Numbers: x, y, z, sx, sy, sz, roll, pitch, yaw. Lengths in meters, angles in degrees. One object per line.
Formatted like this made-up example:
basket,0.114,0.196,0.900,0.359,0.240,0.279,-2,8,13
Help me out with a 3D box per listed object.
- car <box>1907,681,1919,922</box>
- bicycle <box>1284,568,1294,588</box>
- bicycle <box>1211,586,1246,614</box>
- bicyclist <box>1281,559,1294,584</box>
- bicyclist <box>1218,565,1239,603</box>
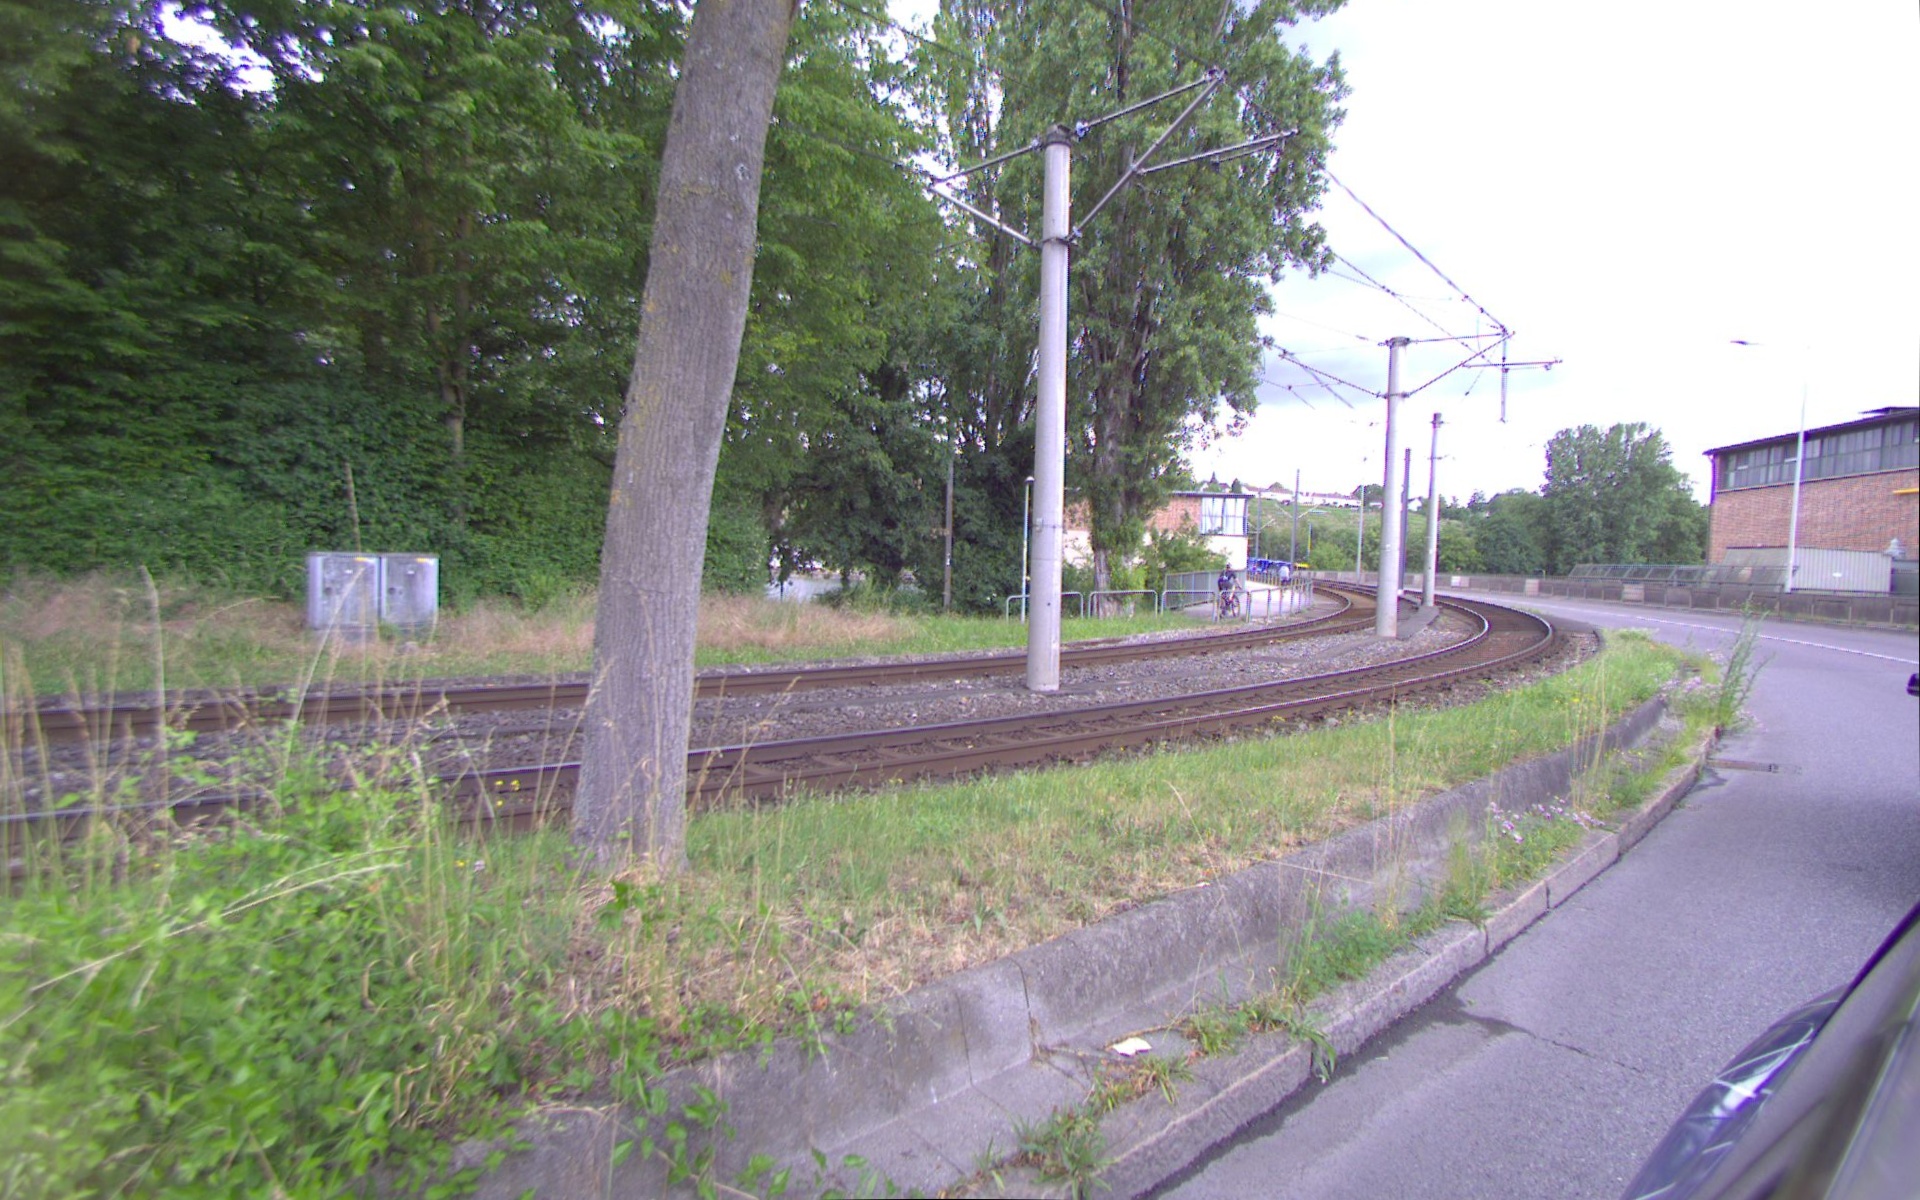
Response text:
car,6.405,0.644,5.197,3.932,1.641,1.859,-1,4,-42
bicycle,17.934,-1.214,55.220,0.421,1.063,2.070,1,1,15
bicycle,8.007,-0.008,30.171,0.347,0.804,1.524,3,2,42
bicyclist,17.876,-1.553,55.257,0.587,1.377,0.907,1,1,14
bicyclist,8.003,-0.474,30.153,0.416,1.097,0.467,3,2,44
